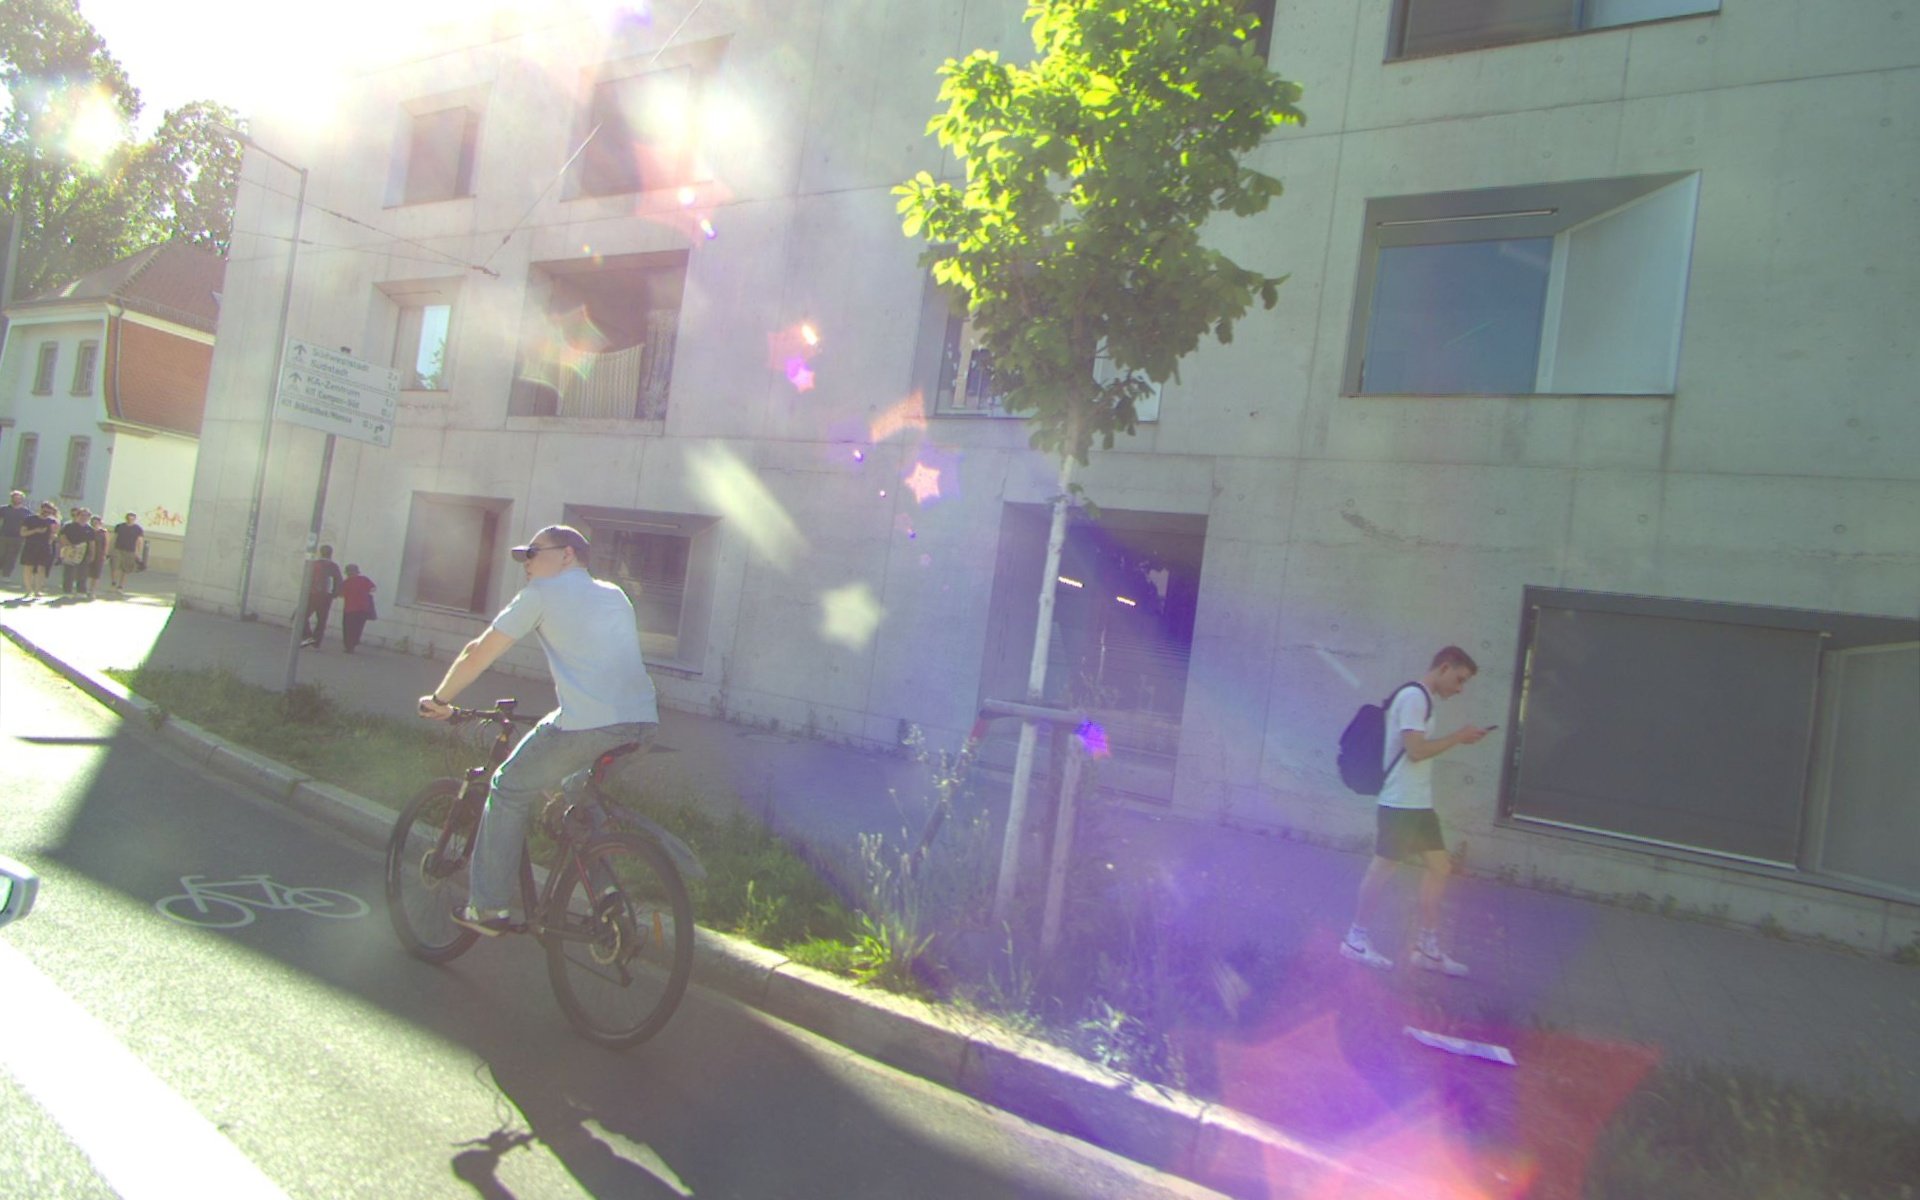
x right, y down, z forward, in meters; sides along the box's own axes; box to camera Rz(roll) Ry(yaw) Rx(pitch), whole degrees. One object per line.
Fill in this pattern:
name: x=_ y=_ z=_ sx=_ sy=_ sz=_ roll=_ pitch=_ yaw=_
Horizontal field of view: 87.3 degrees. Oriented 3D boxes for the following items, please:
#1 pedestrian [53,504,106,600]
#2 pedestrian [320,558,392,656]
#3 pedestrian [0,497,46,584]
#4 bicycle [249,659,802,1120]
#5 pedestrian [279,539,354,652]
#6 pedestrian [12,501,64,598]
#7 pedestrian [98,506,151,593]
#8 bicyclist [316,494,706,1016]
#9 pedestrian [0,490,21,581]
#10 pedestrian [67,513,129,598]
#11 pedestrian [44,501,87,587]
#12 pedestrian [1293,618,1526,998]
pedestrian: x=-17.339 y=-0.941 z=19.802 sx=0.943 sy=1.787 sz=0.645 roll=8 pitch=4 yaw=44
pedestrian: x=-9.469 y=0.104 z=15.770 sx=0.752 sy=1.420 sz=0.518 roll=7 pitch=-1 yaw=32
pedestrian: x=-20.214 y=-1.276 z=21.638 sx=0.522 sy=1.798 sz=0.732 roll=4 pitch=3 yaw=-20
bicycle: x=-1.724 y=0.943 z=3.866 sx=2.075 sy=1.106 sz=0.740 roll=7 pitch=-3 yaw=31
pedestrian: x=-9.843 y=-0.067 z=15.381 sx=0.752 sy=1.619 sz=0.518 roll=7 pitch=-1 yaw=32
pedestrian: x=-17.609 y=-0.960 z=19.209 sx=0.803 sy=1.751 sz=0.494 roll=7 pitch=3 yaw=34
pedestrian: x=-18.404 y=-1.112 z=22.166 sx=0.720 sy=1.826 sz=0.656 roll=7 pitch=2 yaw=37
bicyclist: x=-1.729 y=0.532 z=3.918 sx=0.955 sy=1.704 sz=0.740 roll=7 pitch=-3 yaw=31
pedestrian: x=-20.764 y=-1.409 z=21.717 sx=0.602 sy=1.927 sz=0.518 roll=7 pitch=3 yaw=37
pedestrian: x=-17.795 y=-0.914 z=20.763 sx=0.881 sy=1.626 sz=0.826 roll=8 pitch=4 yaw=43
pedestrian: x=-19.521 y=-1.214 z=21.950 sx=0.608 sy=1.798 sz=0.644 roll=3 pitch=4 yaw=-45
pedestrian: x=2.552 y=1.108 z=5.733 sx=0.939 sy=1.872 sz=0.685 roll=7 pitch=0 yaw=27
